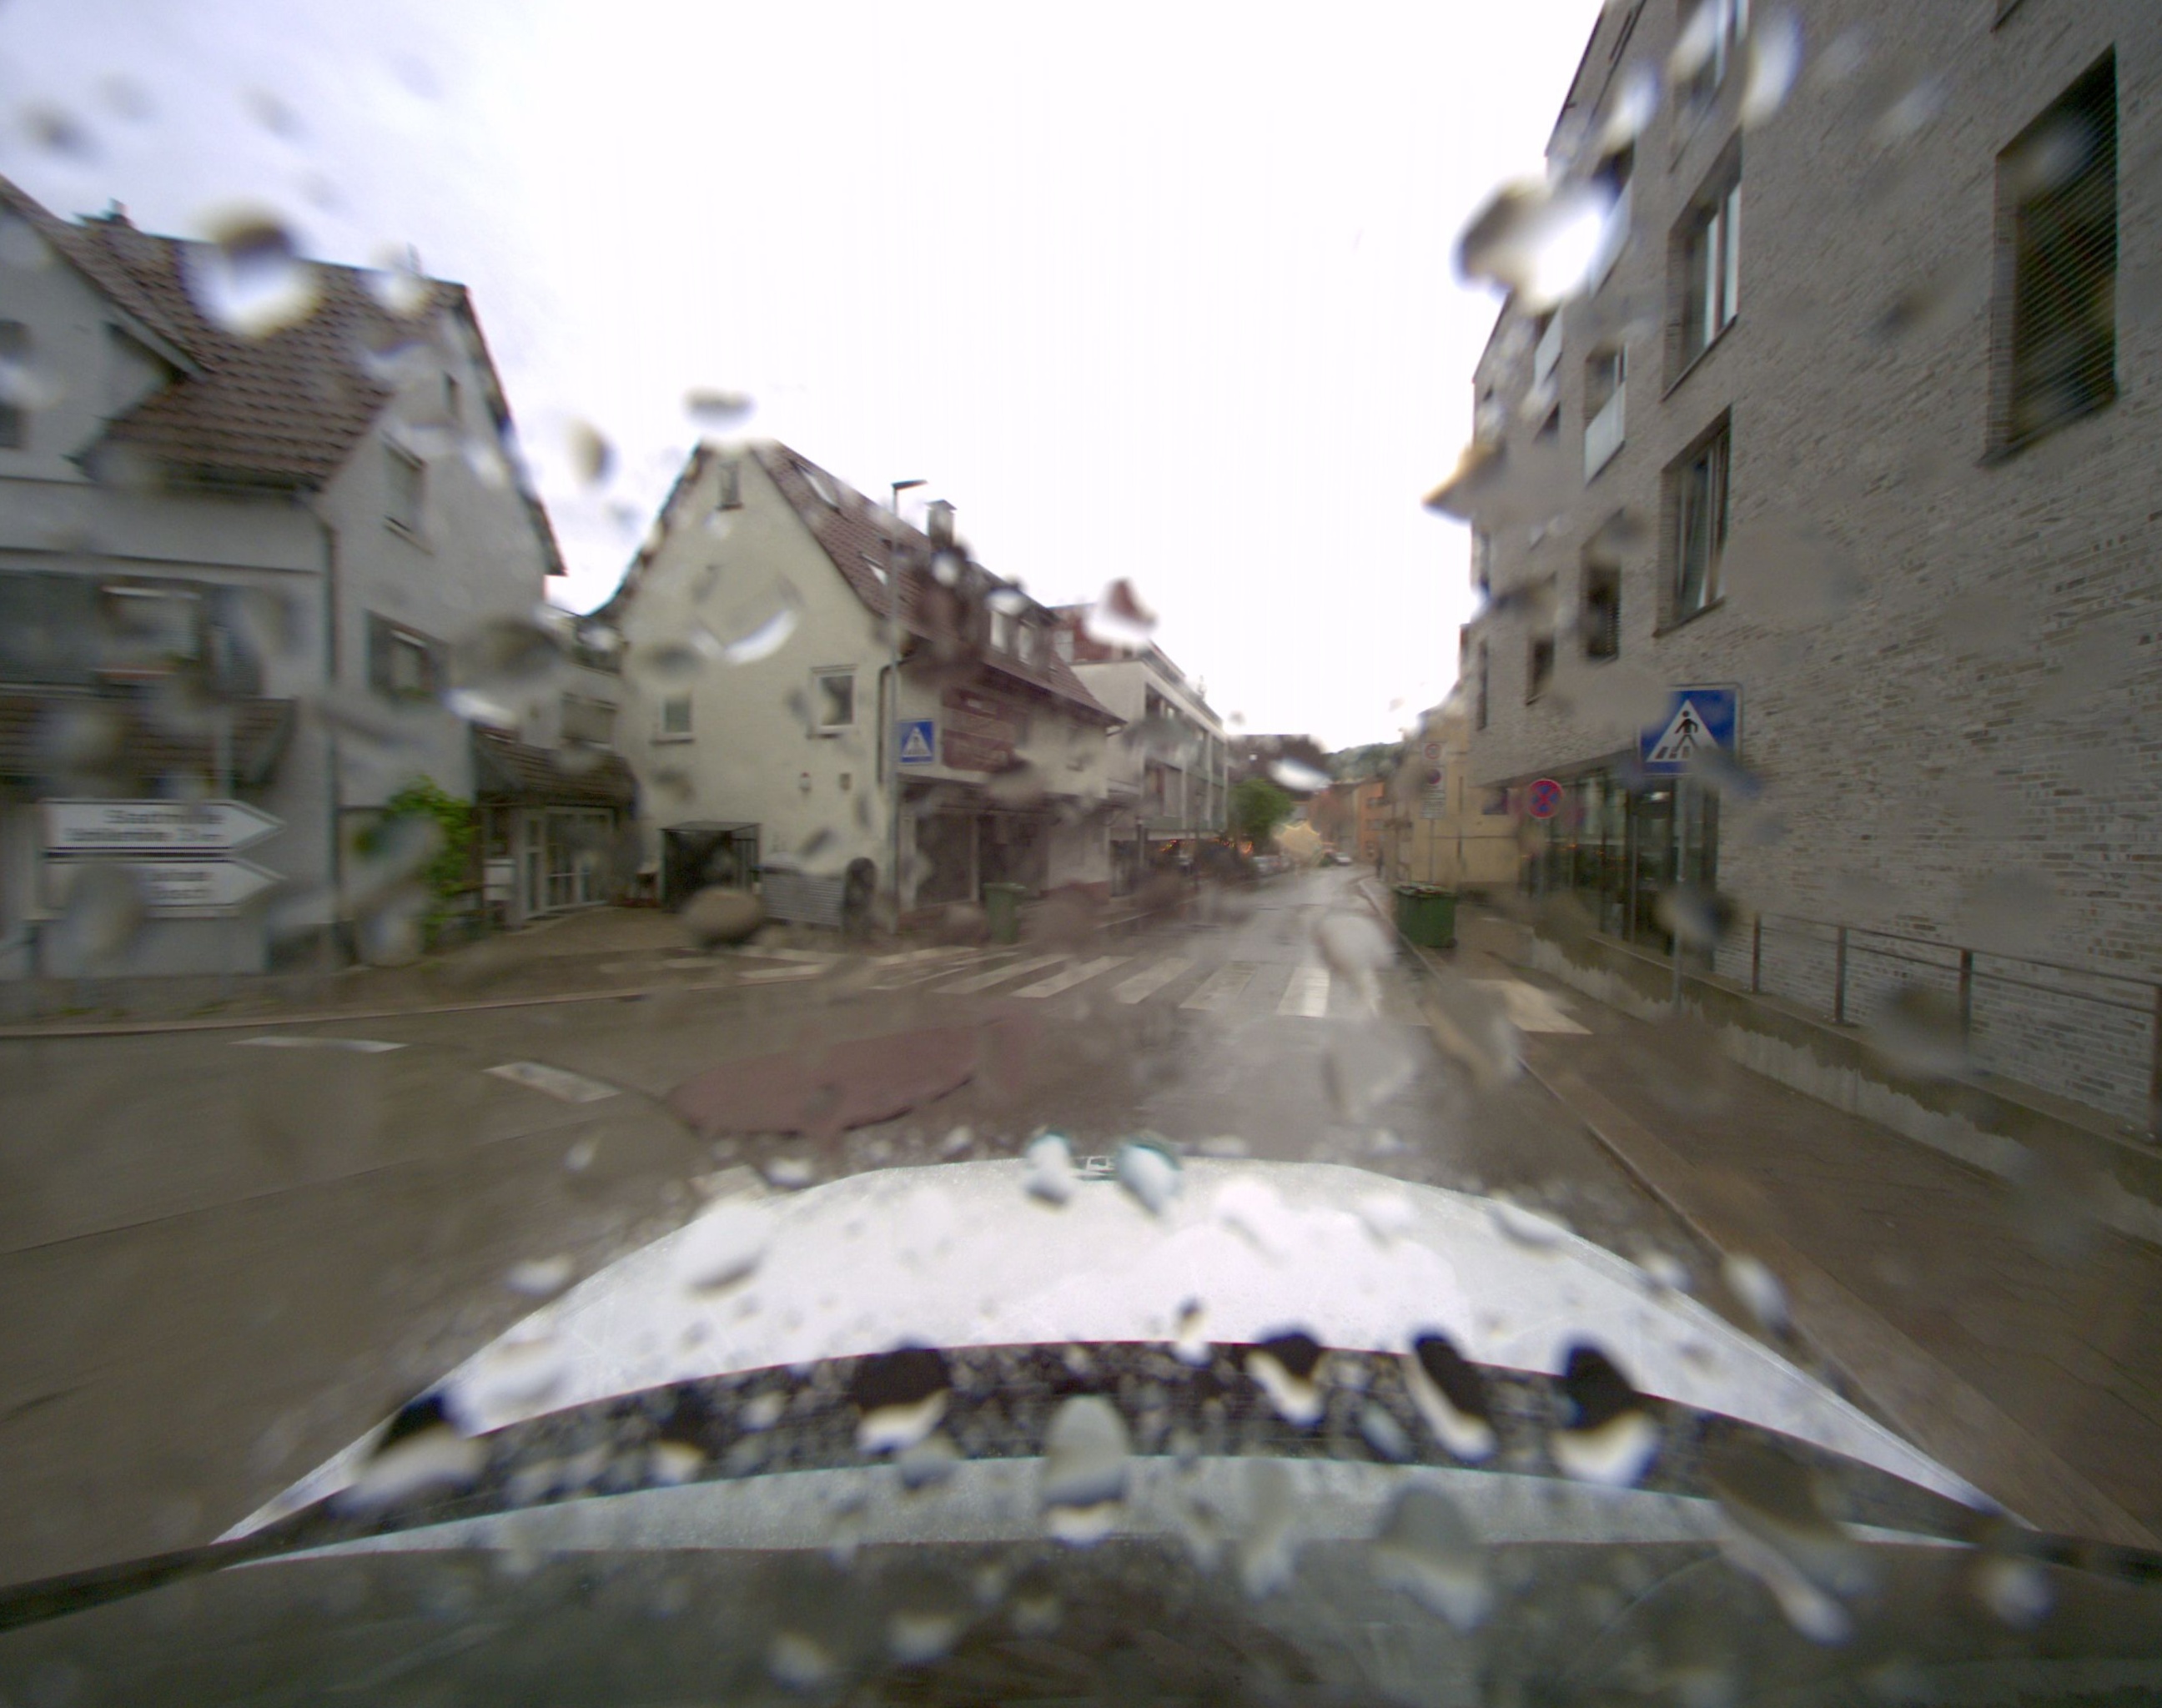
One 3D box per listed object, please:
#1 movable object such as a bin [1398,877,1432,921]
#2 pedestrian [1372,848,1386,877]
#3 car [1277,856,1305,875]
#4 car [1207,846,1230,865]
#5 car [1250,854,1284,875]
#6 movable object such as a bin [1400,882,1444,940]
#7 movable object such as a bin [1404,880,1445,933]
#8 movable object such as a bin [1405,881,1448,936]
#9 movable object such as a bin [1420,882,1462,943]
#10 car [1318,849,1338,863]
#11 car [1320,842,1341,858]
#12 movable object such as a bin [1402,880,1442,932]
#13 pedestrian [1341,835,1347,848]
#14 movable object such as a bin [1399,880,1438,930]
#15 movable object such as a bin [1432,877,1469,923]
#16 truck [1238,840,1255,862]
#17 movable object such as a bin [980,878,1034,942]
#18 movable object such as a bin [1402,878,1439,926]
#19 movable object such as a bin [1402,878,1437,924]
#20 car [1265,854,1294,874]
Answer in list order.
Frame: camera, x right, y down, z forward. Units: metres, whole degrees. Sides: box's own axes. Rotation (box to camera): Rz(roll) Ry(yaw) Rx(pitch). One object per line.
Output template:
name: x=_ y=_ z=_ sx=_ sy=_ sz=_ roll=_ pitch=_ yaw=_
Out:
movable object such as a bin: x=8.697 y=1.168 z=21.232 sx=0.760 sy=1.095 sz=0.584 roll=0 pitch=0 yaw=17
pedestrian: x=20.047 y=0.573 z=54.857 sx=0.804 sy=1.885 sz=0.911 roll=-1 pitch=0 yaw=16
car: x=18.300 y=0.968 z=70.848 sx=1.699 sy=1.458 sz=3.932 roll=2 pitch=1 yaw=25
car: x=14.744 y=0.141 z=87.287 sx=1.797 sy=1.617 sz=4.022 roll=1 pitch=7 yaw=19
car: x=13.901 y=0.784 z=60.669 sx=1.771 sy=1.498 sz=4.478 roll=0 pitch=0 yaw=22
movable object such as a bin: x=6.726 y=1.108 z=16.113 sx=0.734 sy=1.095 sz=0.660 roll=0 pitch=0 yaw=17
movable object such as a bin: x=7.288 y=1.100 z=17.299 sx=0.760 sy=1.095 sz=0.584 roll=0 pitch=0 yaw=17
movable object such as a bin: x=7.088 y=1.103 z=16.722 sx=0.760 sy=1.095 sz=0.584 roll=0 pitch=0 yaw=17
movable object such as a bin: x=6.809 y=1.097 z=15.433 sx=0.658 sy=1.095 sz=0.553 roll=0 pitch=-1 yaw=16
car: x=27.993 y=0.177 z=92.432 sx=1.704 sy=1.458 sz=3.921 roll=2 pitch=1 yaw=10
car: x=35.868 y=-0.559 z=117.118 sx=2.092 sy=2.146 sz=4.878 roll=-1 pitch=0 yaw=8
movable object such as a bin: x=7.446 y=1.126 z=17.815 sx=0.760 sy=1.095 sz=0.584 roll=0 pitch=0 yaw=17
pedestrian: x=41.276 y=-1.919 z=127.857 sx=0.861 sy=2.013 sz=0.710 roll=1 pitch=1 yaw=9
movable object such as a bin: x=7.614 y=1.134 z=18.394 sx=0.760 sy=1.095 sz=0.584 roll=0 pitch=0 yaw=17
movable object such as a bin: x=9.262 y=1.140 z=20.424 sx=0.760 sy=1.095 sz=0.629 roll=0 pitch=0 yaw=17
truck: x=17.722 y=-0.309 z=87.090 sx=1.585 sy=2.062 sz=3.207 roll=-1 pitch=4 yaw=15
movable object such as a bin: x=-1.344 y=1.007 z=14.846 sx=0.682 sy=1.081 sz=0.764 roll=3 pitch=0 yaw=16
movable object such as a bin: x=8.126 y=1.134 z=19.501 sx=0.760 sy=1.095 sz=0.584 roll=0 pitch=0 yaw=17
movable object such as a bin: x=8.340 y=1.146 z=20.087 sx=0.760 sy=1.095 sz=0.584 roll=0 pitch=0 yaw=17
car: x=16.179 y=0.821 z=66.263 sx=1.771 sy=1.576 sz=4.129 roll=0 pitch=0 yaw=22
